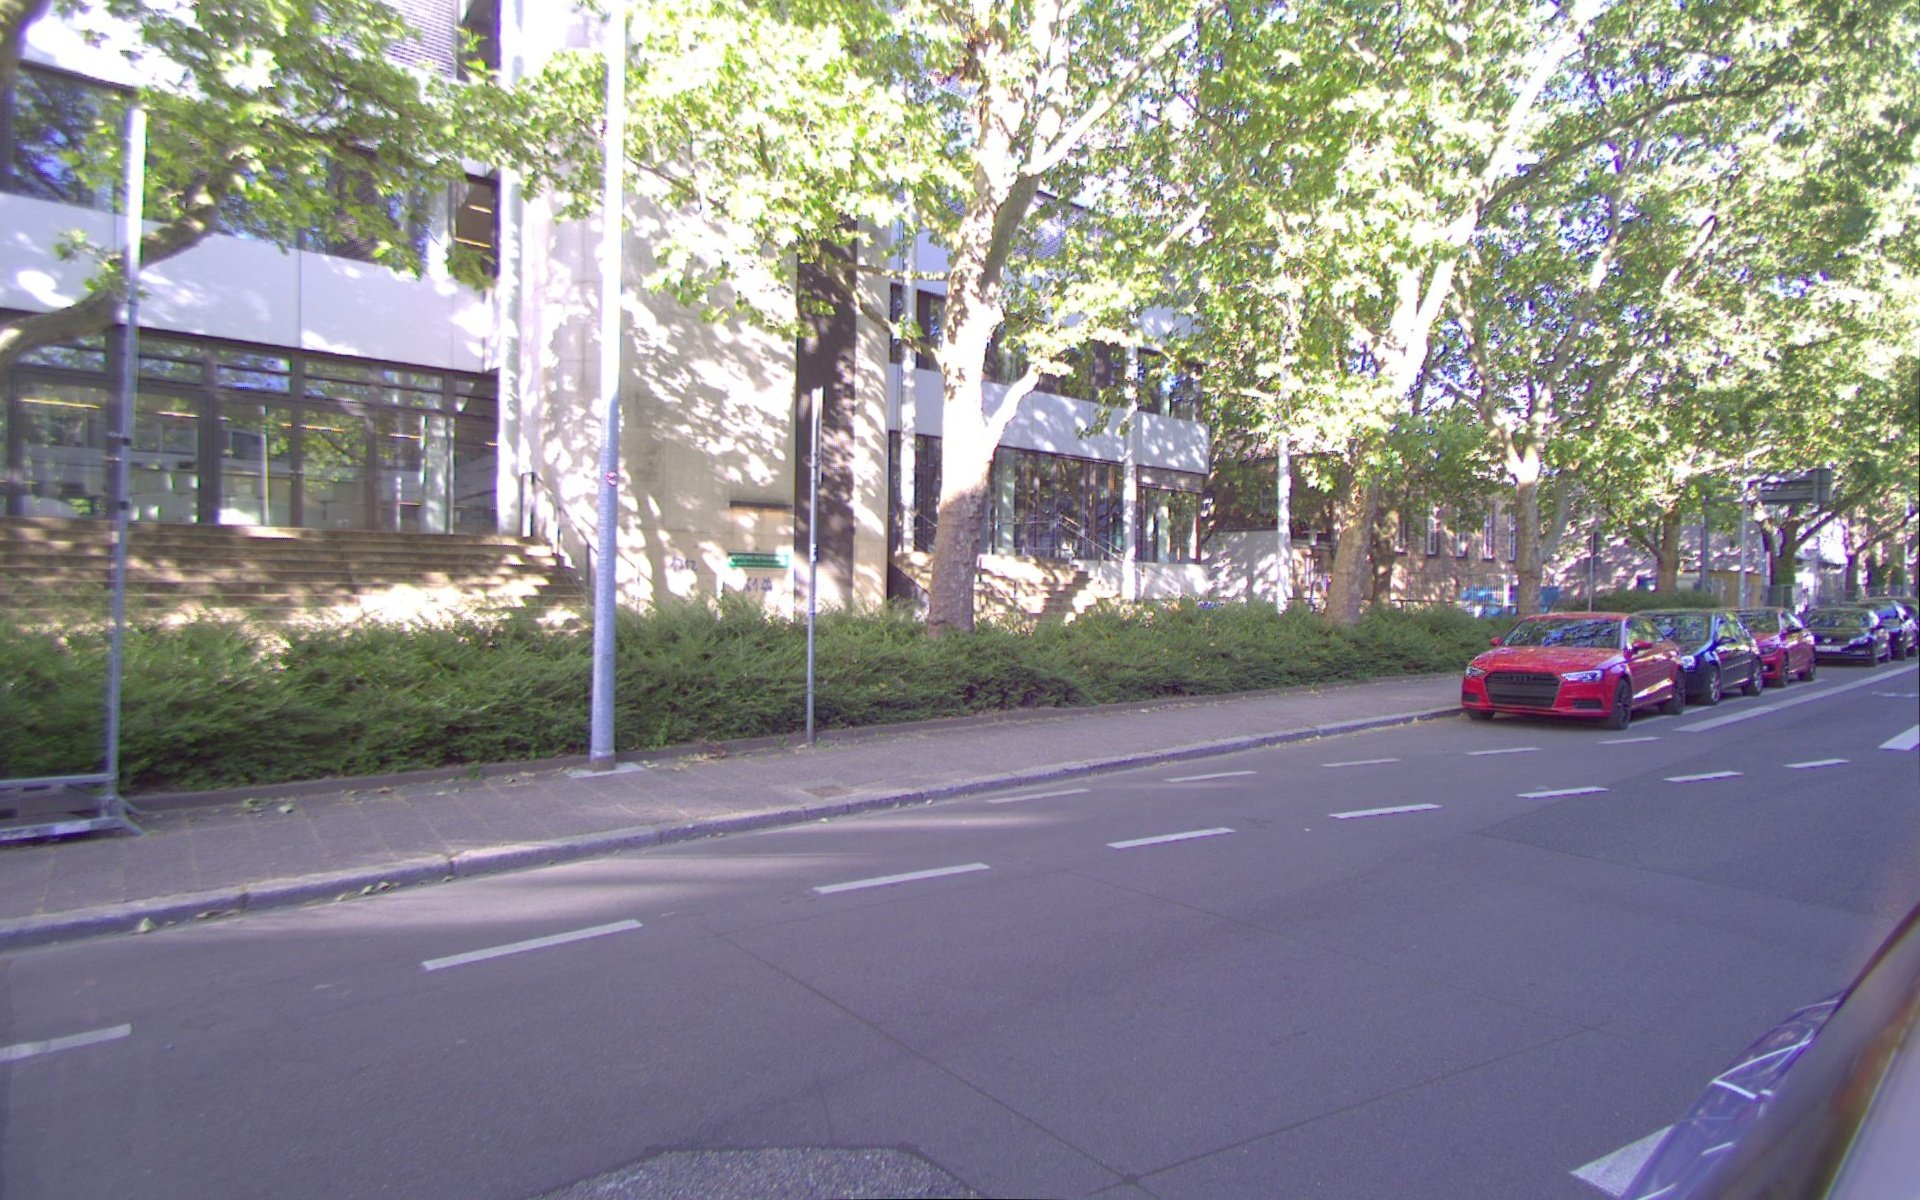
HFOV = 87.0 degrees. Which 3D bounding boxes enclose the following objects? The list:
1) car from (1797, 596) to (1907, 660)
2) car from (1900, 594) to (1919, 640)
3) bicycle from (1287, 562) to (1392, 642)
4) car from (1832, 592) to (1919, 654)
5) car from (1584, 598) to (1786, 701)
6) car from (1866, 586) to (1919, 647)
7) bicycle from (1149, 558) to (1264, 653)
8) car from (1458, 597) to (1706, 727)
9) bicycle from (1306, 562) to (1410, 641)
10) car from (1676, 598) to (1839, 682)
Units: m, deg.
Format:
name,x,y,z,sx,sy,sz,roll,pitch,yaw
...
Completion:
name,x,y,z,sx,sy,sz,roll,pitch,yaw
car,22.968,0.689,26.019,3.952,1.523,1.694,0,-1,-43
car,36.081,0.583,37.331,4.256,1.648,1.694,0,-1,-43
bicycle,10.050,0.030,26.908,0.729,2.039,2.603,0,1,-40
car,26.750,0.620,29.209,4.541,1.648,1.778,0,-1,-42
car,11.984,0.732,16.644,3.992,1.485,1.696,0,-1,-39
car,31.013,0.510,33.193,1.823,1.865,4.826,-2,-1,41
bicycle,5.523,0.091,22.868,0.729,2.039,2.603,0,1,-40
car,8.460,0.718,13.601,4.360,1.468,1.694,0,-1,-43
bicycle,10.764,0.021,27.478,0.729,2.039,2.603,0,1,-40
car,15.816,0.729,20.007,4.242,1.498,1.696,0,-1,-40
